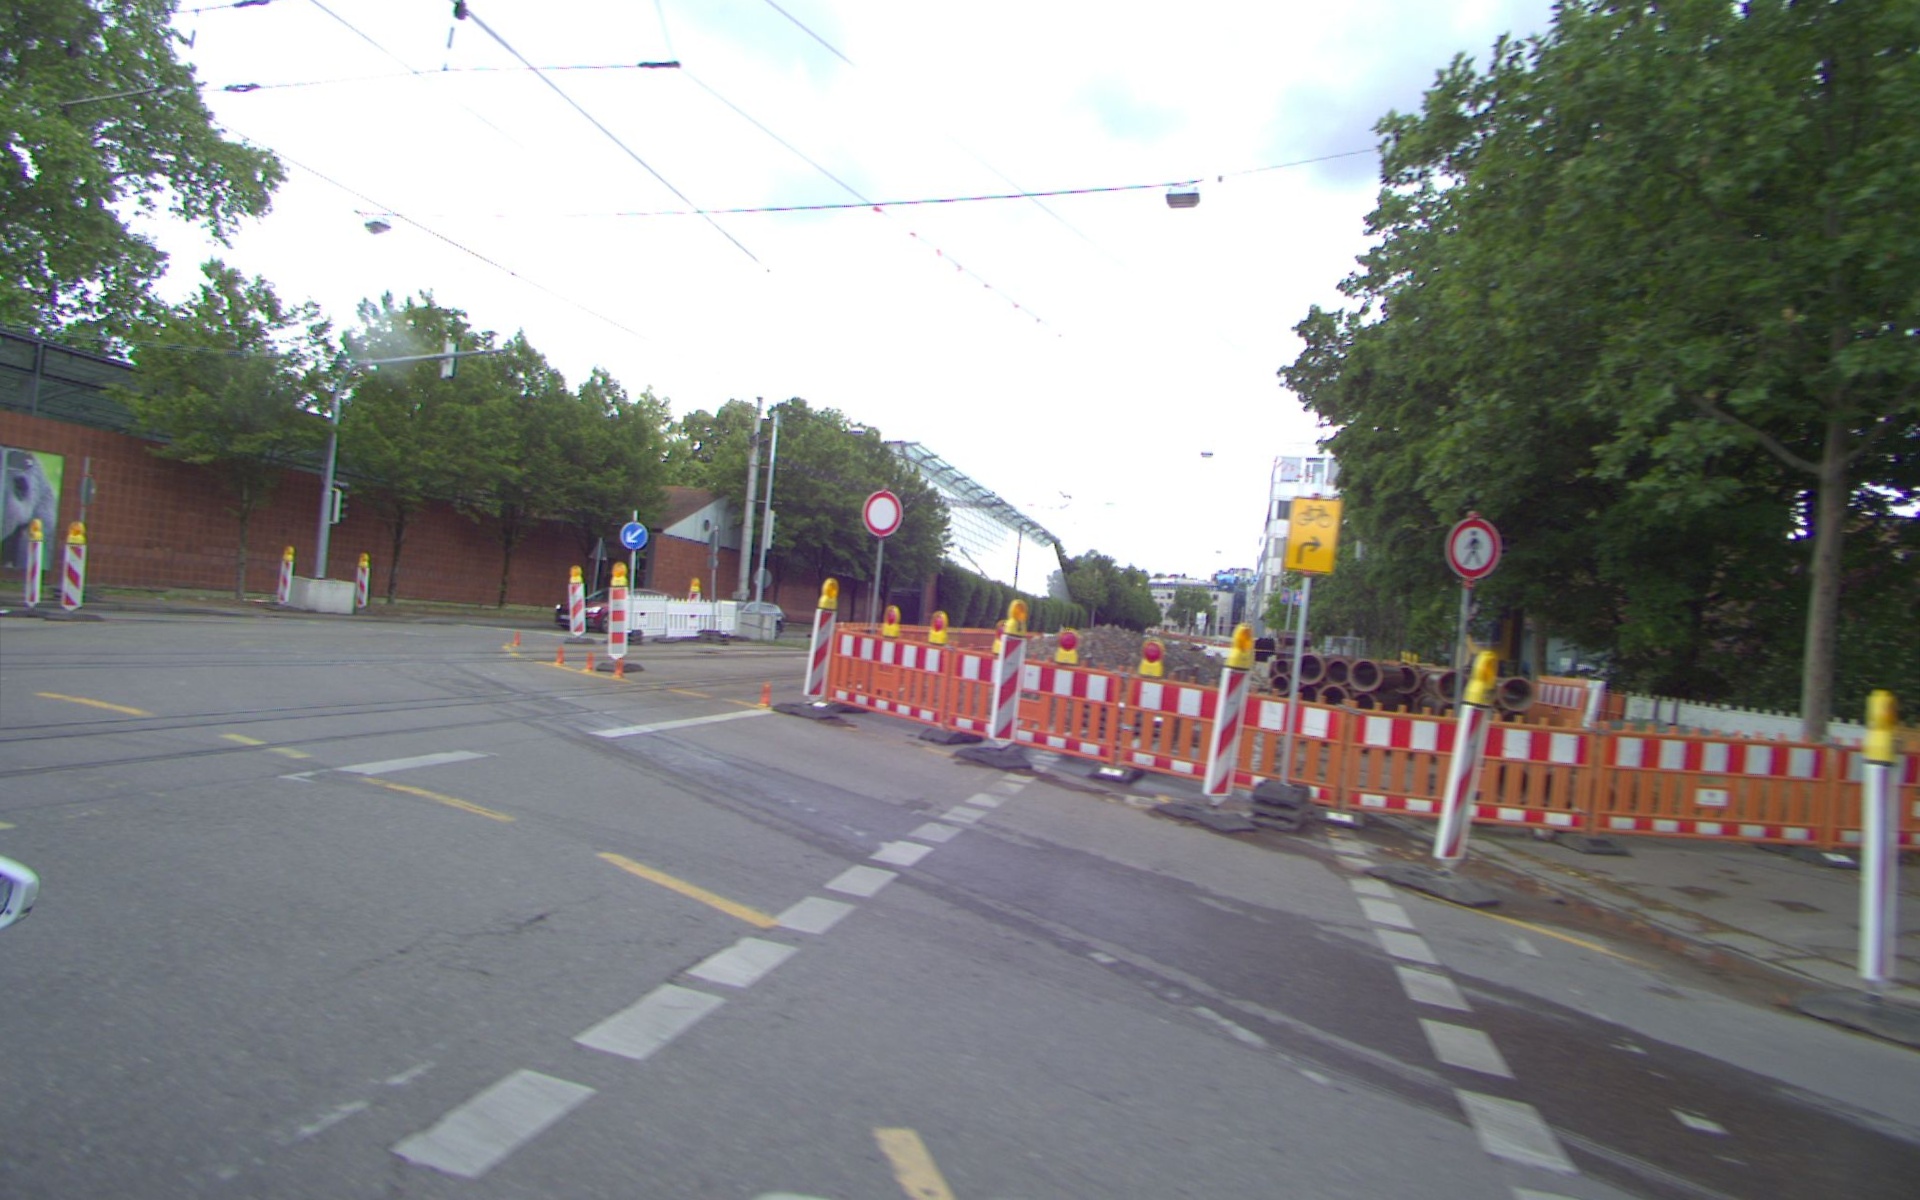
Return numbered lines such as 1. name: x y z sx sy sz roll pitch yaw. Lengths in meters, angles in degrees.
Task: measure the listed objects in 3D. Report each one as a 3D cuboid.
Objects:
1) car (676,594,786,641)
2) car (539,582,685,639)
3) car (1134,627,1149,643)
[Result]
1. car: -8.724 0.705 38.738 1.771 1.460 4.458 3 -2 23
2. car: -11.040 0.374 32.287 1.846 1.460 4.458 3 -3 23
3. car: 29.383 5.622 162.829 1.962 2.034 4.010 4 -6 16
